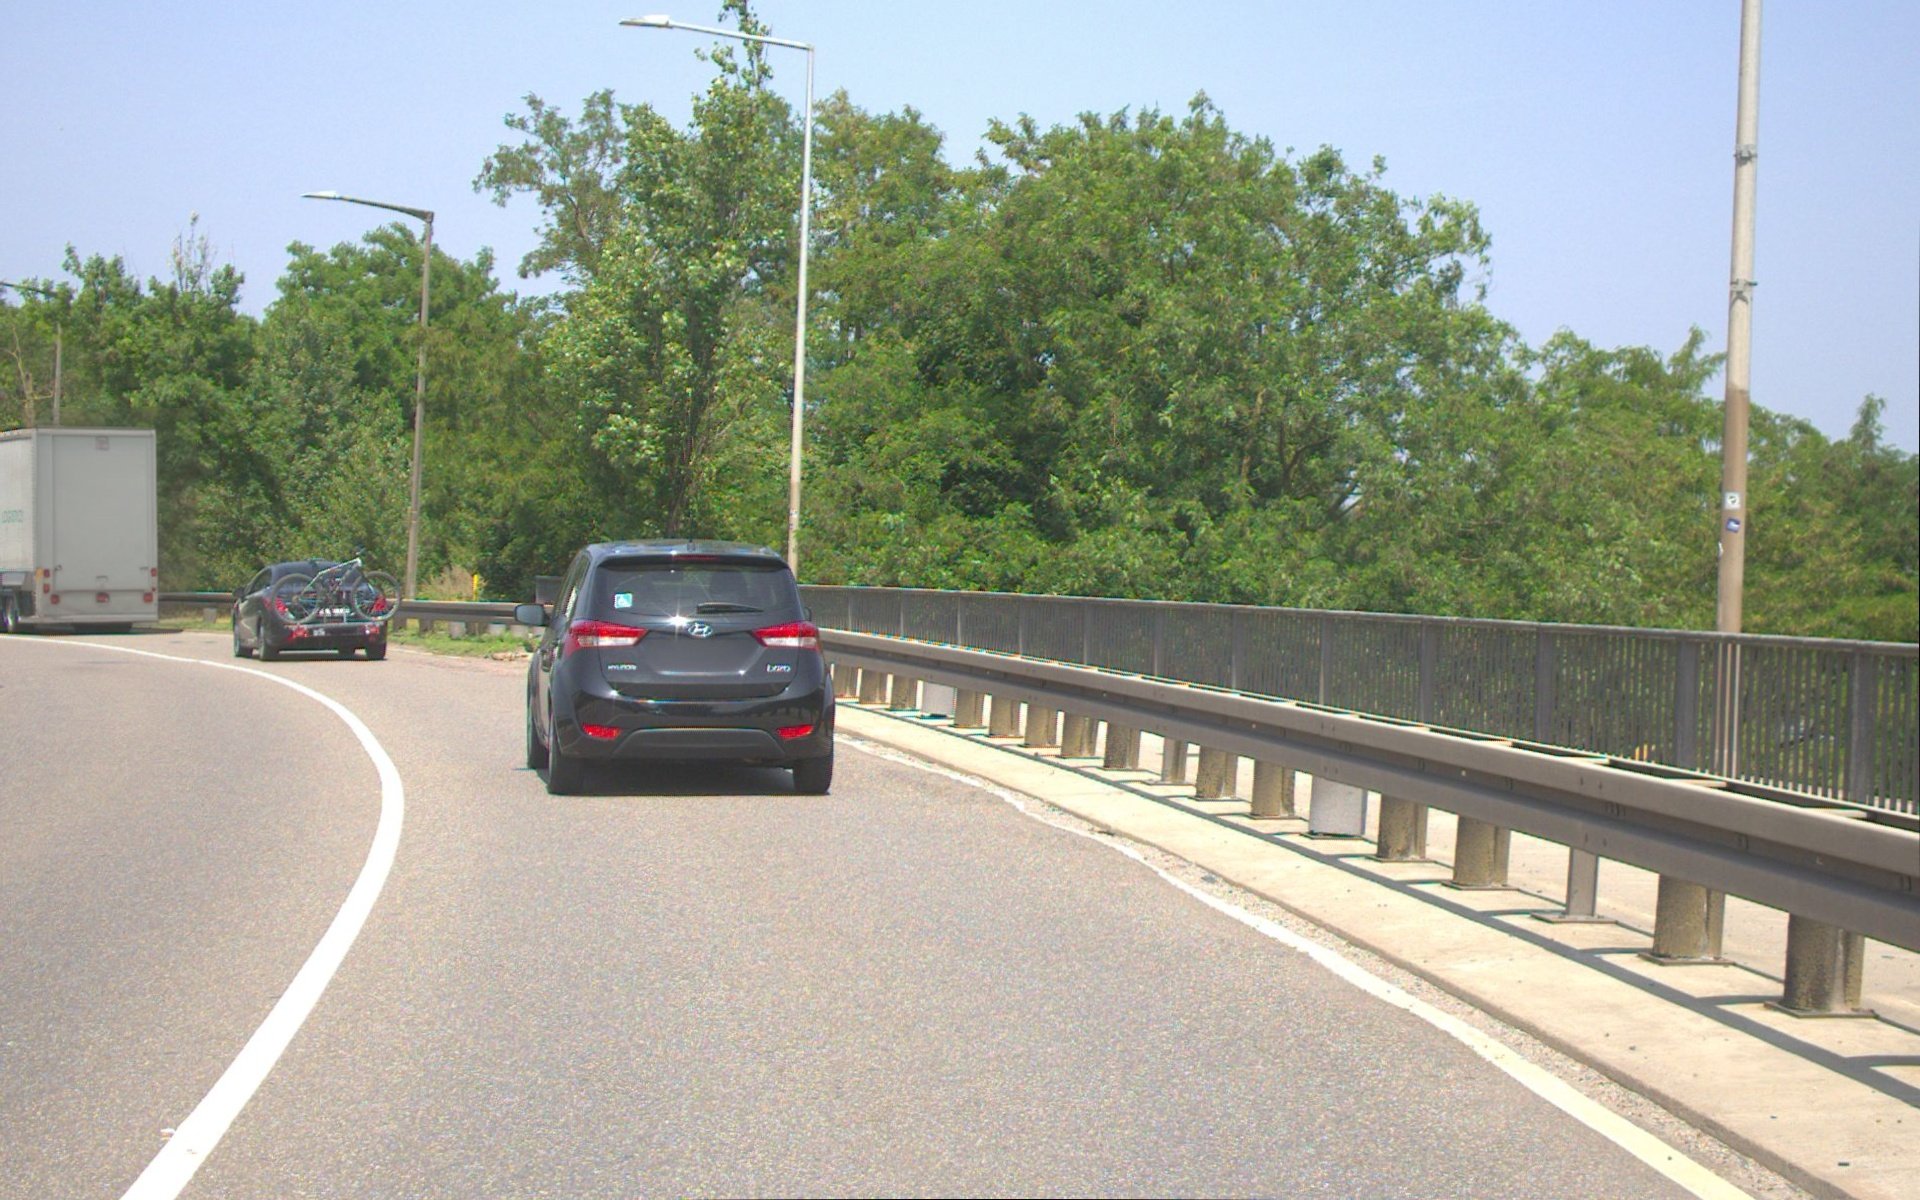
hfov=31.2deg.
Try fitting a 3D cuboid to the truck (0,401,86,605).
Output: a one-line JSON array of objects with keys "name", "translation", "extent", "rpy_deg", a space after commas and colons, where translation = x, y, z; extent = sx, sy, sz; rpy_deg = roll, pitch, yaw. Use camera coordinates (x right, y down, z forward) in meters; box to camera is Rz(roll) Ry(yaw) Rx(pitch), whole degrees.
[{"name": "truck", "translation": [-22.485, -2.215, 77.625], "extent": [3.572, 4.425, 6.515], "rpy_deg": [0, 2, -31]}]

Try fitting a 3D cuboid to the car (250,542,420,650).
[{"name": "car", "translation": [-8.948, -0.081, 49.011], "extent": [2.011, 1.424, 3.778], "rpy_deg": [0, 2, -16]}]

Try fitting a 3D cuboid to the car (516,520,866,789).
[{"name": "car", "translation": [-1.854, 0.288, 22.538], "extent": [1.921, 1.568, 3.893], "rpy_deg": [0, 2, -10]}]

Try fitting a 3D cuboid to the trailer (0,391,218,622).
[{"name": "trailer", "translation": [-18.746, -1.956, 71.032], "extent": [3.569, 4.369, 11.442], "rpy_deg": [0, 2, -29]}]
